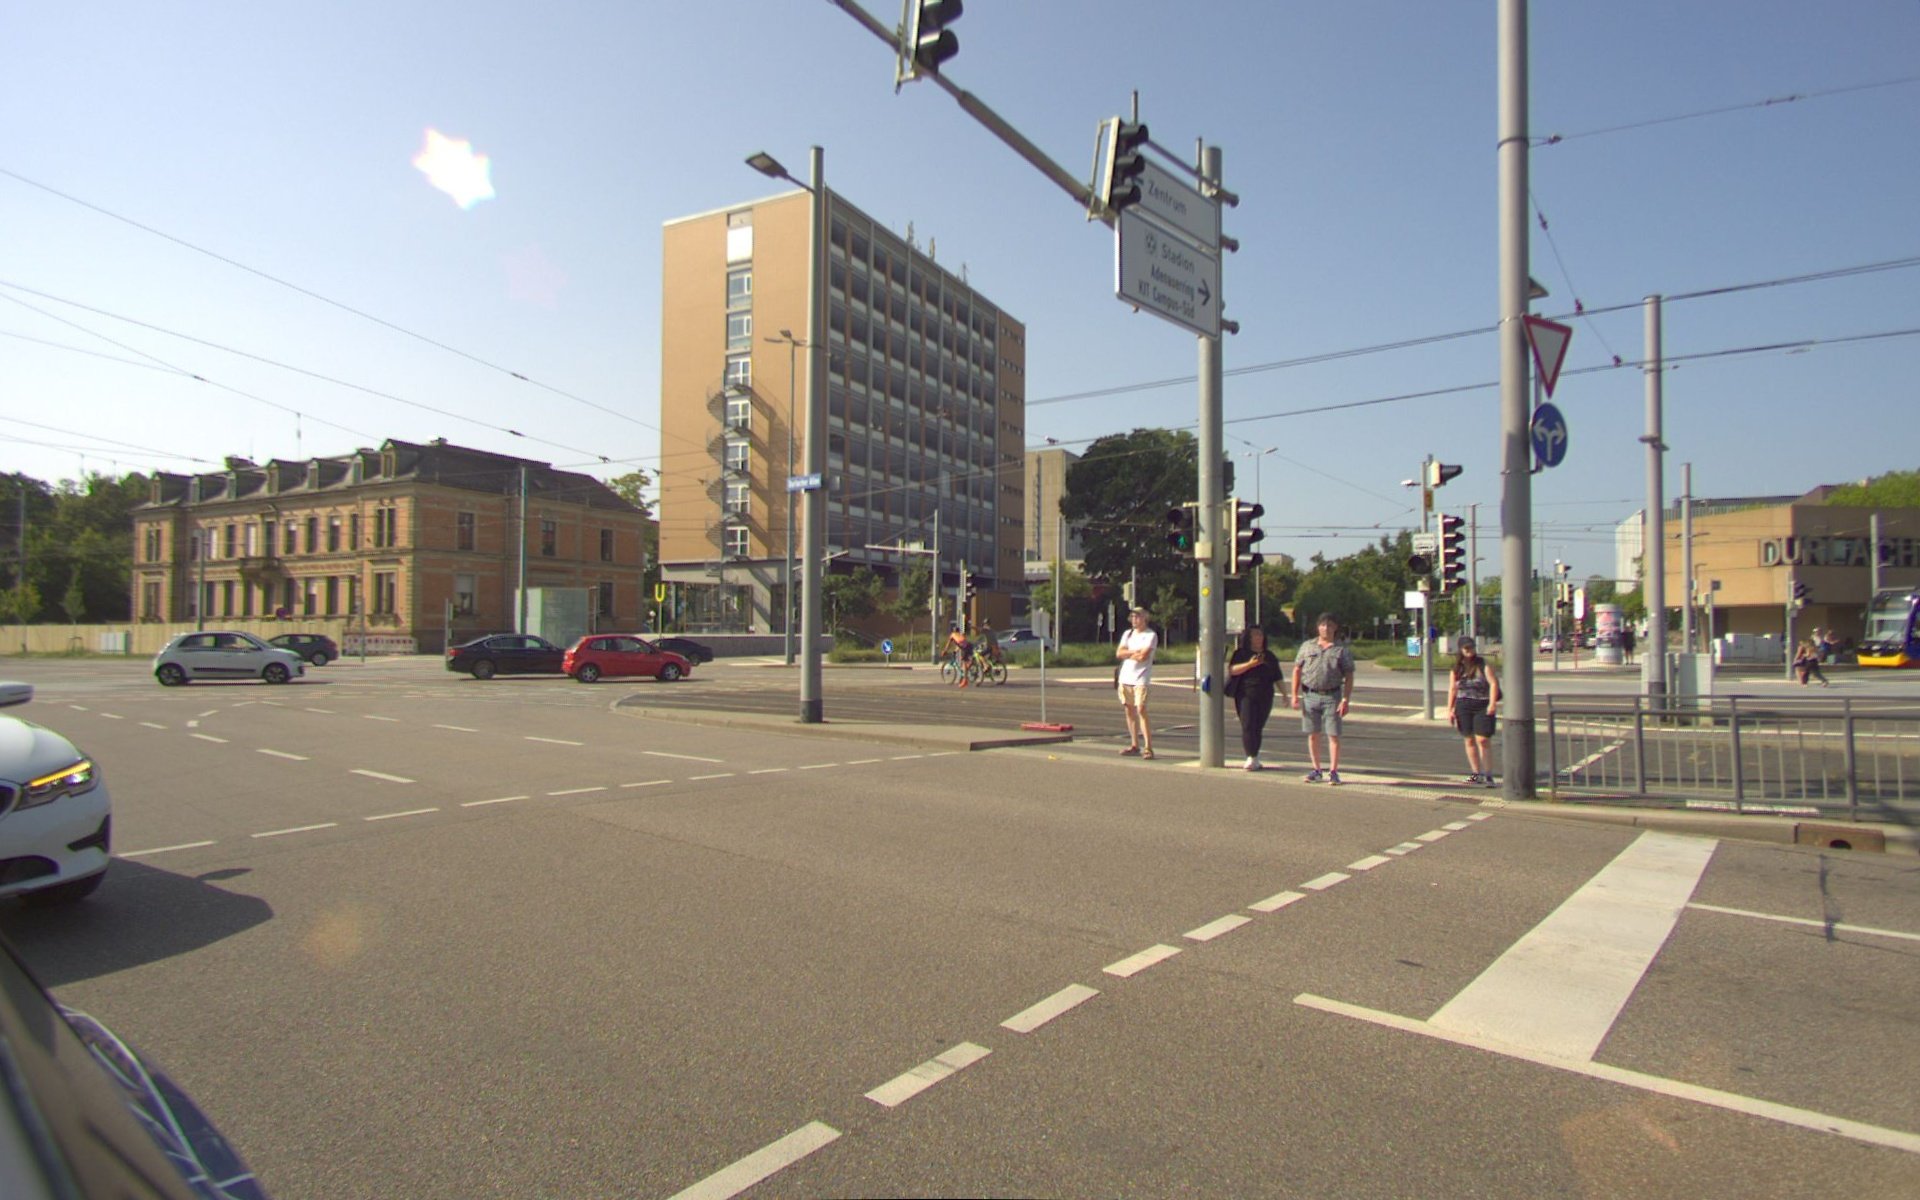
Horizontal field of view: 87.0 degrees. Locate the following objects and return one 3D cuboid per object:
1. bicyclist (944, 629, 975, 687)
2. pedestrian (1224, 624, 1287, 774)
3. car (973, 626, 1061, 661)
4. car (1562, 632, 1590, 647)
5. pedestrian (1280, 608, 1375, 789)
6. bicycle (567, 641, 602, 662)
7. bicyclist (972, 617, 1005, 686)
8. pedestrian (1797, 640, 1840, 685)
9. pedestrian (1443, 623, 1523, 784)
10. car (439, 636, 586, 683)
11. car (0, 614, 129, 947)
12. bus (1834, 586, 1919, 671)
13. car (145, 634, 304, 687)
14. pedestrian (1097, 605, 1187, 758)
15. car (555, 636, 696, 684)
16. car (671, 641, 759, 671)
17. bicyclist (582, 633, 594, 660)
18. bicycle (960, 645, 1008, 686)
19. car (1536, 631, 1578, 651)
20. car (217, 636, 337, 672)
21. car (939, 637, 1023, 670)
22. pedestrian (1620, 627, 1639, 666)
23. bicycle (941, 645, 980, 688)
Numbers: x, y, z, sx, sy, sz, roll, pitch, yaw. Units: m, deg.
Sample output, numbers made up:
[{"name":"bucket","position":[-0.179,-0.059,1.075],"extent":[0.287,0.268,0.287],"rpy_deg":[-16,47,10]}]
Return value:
[{"name":"bicyclist","position":[-0.023,1.639,28.736],"extent":[0.503,1.642,0.809],"rpy_deg":[1,-3,-35]},{"name":"pedestrian","position":[3.314,1.093,11.338],"extent":[0.467,1.610,0.626],"rpy_deg":[-1,-5,39]},{"name":"car","position":[2.996,2.287,52.924],"extent":[4.217,1.720,1.957],"rpy_deg":[2,-5,-34]},{"name":"car","position":[59.694,3.832,98.034],"extent":[3.471,1.462,1.494],"rpy_deg":[2,-3,-44]},{"name":"pedestrian","position":[3.681,0.965,10.110],"extent":[0.651,1.706,0.805],"rpy_deg":[-2,-5,41]},{"name":"bicycle","position":[-20.946,2.874,56.452],"extent":[1.744,1.203,0.402],"rpy_deg":[0,-2,-10]},{"name":"bicyclist","position":[0.825,1.502,29.624],"extent":[0.571,1.989,0.809],"rpy_deg":[1,-3,-35]},{"name":"pedestrian","position":[25.667,1.863,30.273],"extent":[0.549,1.302,0.769],"rpy_deg":[0,-2,-6]},{"name":"pedestrian","position":[5.360,1.040,10.372],"extent":[0.548,1.560,0.799],"rpy_deg":[-2,-5,42]},{"name":"car","position":[-14.611,1.915,33.127],"extent":[4.275,1.463,1.809],"rpy_deg":[1,-3,-26]},{"name":"car","position":[-6.428,0.834,5.248],"extent":[4.757,1.438,1.796],"rpy_deg":[-1,-1,31]},{"name":"bus","position":[44.987,1.234,43.330],"extent":[13.110,3.445,3.229],"rpy_deg":[0,-2,-6]},{"name":"car","position":[-21.308,1.735,29.511],"extent":[3.495,1.446,1.809],"rpy_deg":[1,-3,-28]},{"name":"pedestrian","position":[2.253,0.993,12.511],"extent":[0.822,1.802,0.730],"rpy_deg":[5,-5,-42]},{"name":"car","position":[-10.459,1.844,31.674],"extent":[3.931,1.426,1.809],"rpy_deg":[1,-3,-27]},{"name":"car","position":[-12.940,2.949,53.500],"extent":[4.251,1.477,1.679],"rpy_deg":[1,-5,-30]},{"name":"bicyclist","position":[-20.745,2.605,56.489],"extent":[0.540,1.491,0.398],"rpy_deg":[0,-2,-10]},{"name":"bicycle","position":[0.694,1.923,29.881],"extent":[0.371,1.174,1.864],"rpy_deg":[1,-3,-34]},{"name":"car","position":[45.758,3.119,77.578],"extent":[3.940,1.519,1.784],"rpy_deg":[2,-3,-44]},{"name":"car","position":[-29.766,2.357,44.281],"extent":[4.216,1.477,1.679],"rpy_deg":[1,-5,-30]},{"name":"car","position":[1.170,2.934,55.823],"extent":[4.217,1.720,1.931],"rpy_deg":[1,-5,-32]},{"name":"pedestrian","position":[31.290,2.167,47.296],"extent":[0.551,1.782,0.403],"rpy_deg":[0,-2,-3]},{"name":"bicycle","position":[-0.001,1.875,28.777],"extent":[0.306,1.174,1.503],"rpy_deg":[1,-3,-34]}]
